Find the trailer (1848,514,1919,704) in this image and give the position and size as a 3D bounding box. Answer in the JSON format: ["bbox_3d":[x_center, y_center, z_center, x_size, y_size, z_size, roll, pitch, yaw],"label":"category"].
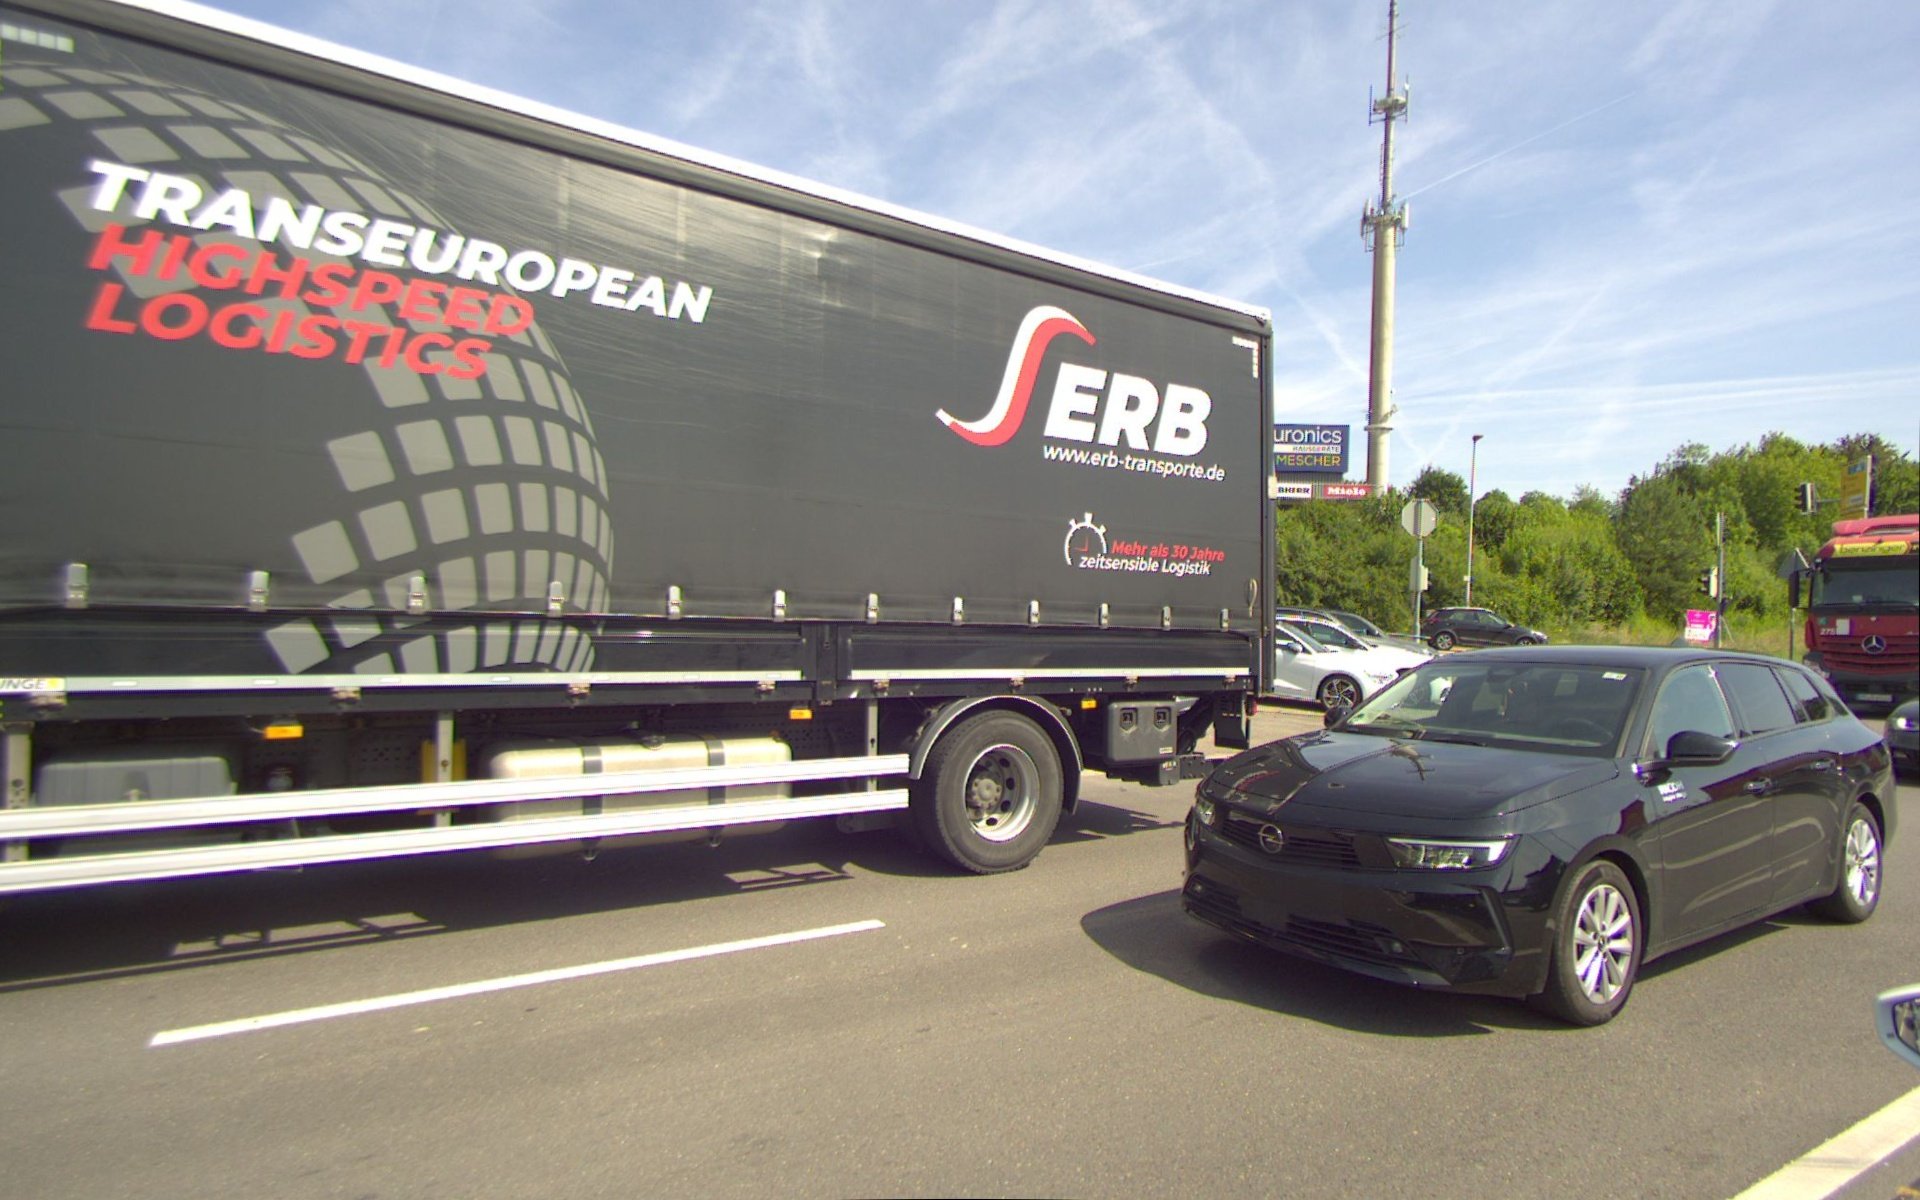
[{"bbox_3d":[25.540,0.327,24.687,12.109,4.051,2.704,2,-1,-34],"label":"trailer"}]

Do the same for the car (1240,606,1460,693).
[{"bbox_3d":[9.197,1.120,24.091,4.647,1.647,1.890,4,2,17],"label":"car"}]

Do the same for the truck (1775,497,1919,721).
[{"bbox_3d":[19.362,0.238,20.453,5.995,4.051,2.704,2,-1,-34],"label":"truck"}]

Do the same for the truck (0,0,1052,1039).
[{"bbox_3d":[-4.311,-0.482,4.524,9.869,4.051,2.695,2,-1,-33],"label":"truck"}]

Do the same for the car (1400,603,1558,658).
[{"bbox_3d":[18.147,1.022,35.356,4.543,1.548,1.916,4,2,16],"label":"car"}]

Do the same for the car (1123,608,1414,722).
[{"bbox_3d":[5.461,1.054,17.859,4.629,1.495,1.890,4,2,27],"label":"car"}]

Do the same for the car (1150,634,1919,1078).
[{"bbox_3d":[3.173,0.931,5.236,4.331,1.462,1.702,2,-3,-33],"label":"car"}]

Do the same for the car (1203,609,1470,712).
[{"bbox_3d":[7.304,1.107,19.801,4.623,1.533,1.955,4,2,20],"label":"car"}]

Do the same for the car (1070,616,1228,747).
[{"bbox_3d":[2.922,1.058,15.012,1.934,1.455,4.643,2,1,13],"label":"car"}]

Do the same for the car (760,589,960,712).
[{"bbox_3d":[-1.535,0.731,17.301,1.855,1.772,4.470,2,1,16],"label":"car"}]

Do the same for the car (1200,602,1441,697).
[{"bbox_3d":[7.819,1.027,22.136,4.702,1.647,1.932,4,1,19],"label":"car"}]

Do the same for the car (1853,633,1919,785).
[{"bbox_3d":[11.959,1.135,11.079,4.535,1.544,1.853,1,-2,-31],"label":"car"}]
